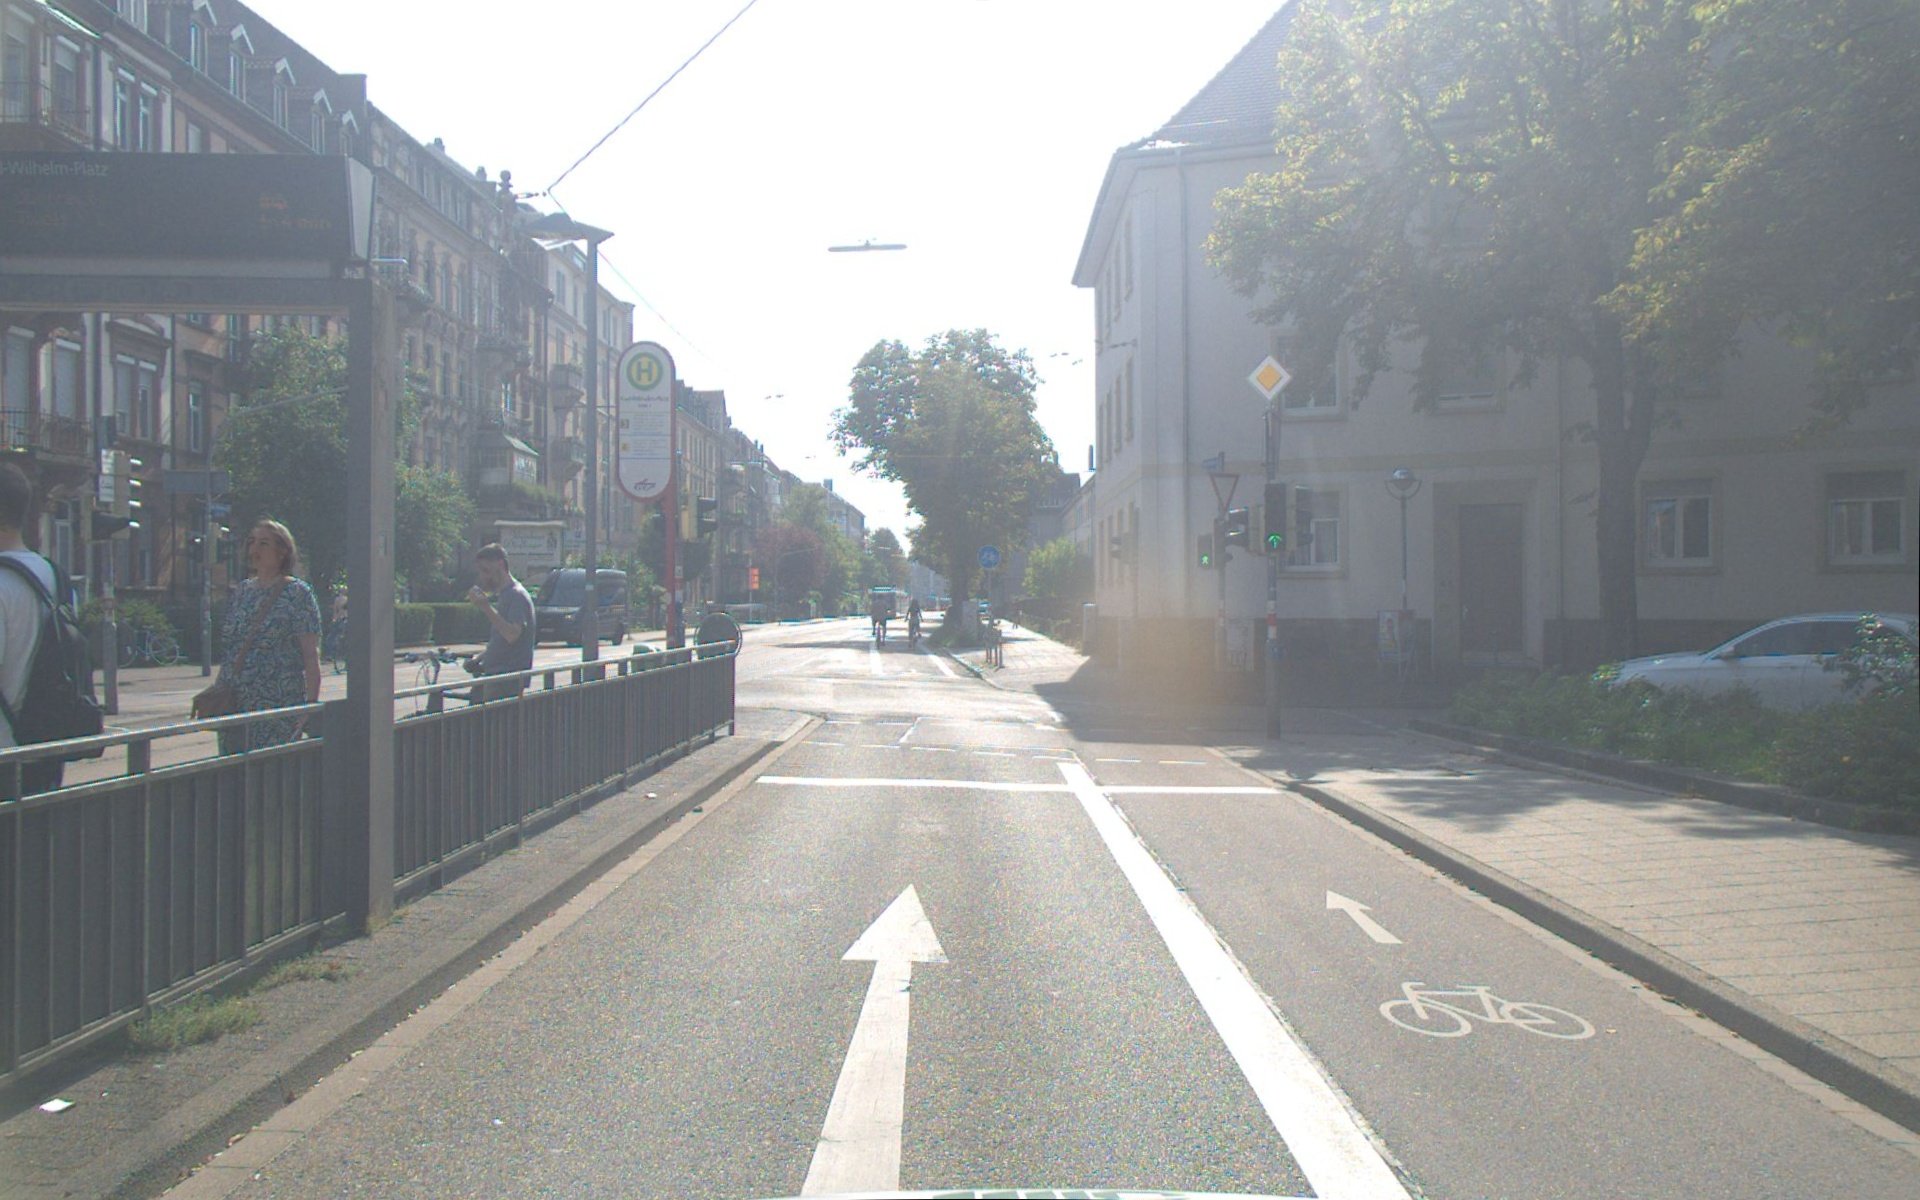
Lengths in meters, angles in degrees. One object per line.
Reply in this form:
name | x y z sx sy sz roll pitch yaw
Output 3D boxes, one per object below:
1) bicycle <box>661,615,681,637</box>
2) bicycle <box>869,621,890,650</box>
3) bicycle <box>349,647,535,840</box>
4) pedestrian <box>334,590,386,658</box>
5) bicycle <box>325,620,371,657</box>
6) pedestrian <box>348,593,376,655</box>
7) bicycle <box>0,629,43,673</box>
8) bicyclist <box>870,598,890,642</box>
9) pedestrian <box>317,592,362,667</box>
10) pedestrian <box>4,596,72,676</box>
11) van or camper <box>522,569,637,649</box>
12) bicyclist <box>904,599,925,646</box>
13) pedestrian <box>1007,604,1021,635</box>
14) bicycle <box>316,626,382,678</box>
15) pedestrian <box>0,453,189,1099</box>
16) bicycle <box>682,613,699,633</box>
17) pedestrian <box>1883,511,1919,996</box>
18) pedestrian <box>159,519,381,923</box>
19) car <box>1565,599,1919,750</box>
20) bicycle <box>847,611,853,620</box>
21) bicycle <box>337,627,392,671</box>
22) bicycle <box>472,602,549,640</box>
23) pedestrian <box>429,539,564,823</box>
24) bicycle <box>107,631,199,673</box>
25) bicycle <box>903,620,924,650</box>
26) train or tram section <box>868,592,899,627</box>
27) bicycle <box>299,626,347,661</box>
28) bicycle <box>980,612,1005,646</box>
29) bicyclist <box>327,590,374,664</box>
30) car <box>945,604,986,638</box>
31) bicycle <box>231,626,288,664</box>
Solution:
bicycle | -15.145 1.352 86.791 0.594 1.076 1.840 4 0 2
bicycle | -2.693 1.180 55.236 0.613 0.925 1.525 1 -1 0
bicycle | -3.389 0.901 10.971 0.462 1.123 1.739 0 0 8
pedestrian | -15.895 0.628 43.815 0.886 1.797 1.186 0 0 4
bicycle | -16.673 1.039 45.089 0.515 0.944 1.703 0 0 3
pedestrian | -16.508 0.653 45.642 0.625 1.708 0.632 0 0 -12
bicycle | -19.902 1.049 33.971 0.518 0.875 1.820 0 0 38
bicyclist | -2.673 0.660 55.253 0.613 1.425 0.929 1 -1 -1
pedestrian | -15.398 0.718 41.053 0.713 1.838 1.093 0 0 -1
pedestrian | -18.851 0.722 33.816 0.824 1.598 0.943 0 0 34
van or camper | -13.479 0.345 58.975 2.007 2.691 6.094 -1 -1 7
bicyclist | -1.490 0.734 53.985 0.641 1.500 0.908 1 -1 -1
pedestrian | 3.095 1.106 94.459 0.736 1.779 0.879 0 0 7
bicycle | -13.777 1.162 37.352 0.670 1.123 2.070 0 0 2
pedestrian | -2.831 0.501 5.073 0.591 1.838 0.730 0 0 -1
bicycle | -15.125 1.260 92.727 0.533 1.076 1.840 3 0 2
pedestrian | 3.968 0.527 5.588 1.055 1.754 0.969 -3 0 -1
pedestrian | -3.188 0.537 7.698 0.752 1.791 0.680 0 0 -1
car | 9.641 0.785 18.780 4.864 1.494 1.866 -1 2 41
bicycle | -14.416 2.032 216.106 0.549 1.242 2.114 0 -1 2
bicycle | -14.884 1.207 41.391 0.606 1.024 2.150 0 0 0
bicycle | -17.861 0.835 65.808 2.819 1.480 0.996 1 0 -7
pedestrian | -3.033 0.515 10.879 0.675 1.797 0.796 0 0 -1
bicycle | -17.926 1.153 36.775 0.518 0.875 1.820 0 0 38
bicycle | -1.508 1.138 53.995 0.641 0.925 1.774 2 -1 0
train or tram section | -8.285 1.044 180.452 2.678 3.567 15.431 0 0 0
bicycle | -16.710 1.129 43.394 0.515 0.875 1.703 0 0 3
bicycle | 1.128 1.004 58.060 0.756 1.123 2.332 0 0 -2
bicyclist | -13.782 0.607 37.426 0.659 1.642 1.044 0 0 2
car | 0.315 1.028 81.797 1.610 1.567 3.844 -2 -1 6
bicycle | -17.137 1.097 40.485 0.515 0.875 1.829 0 0 3
